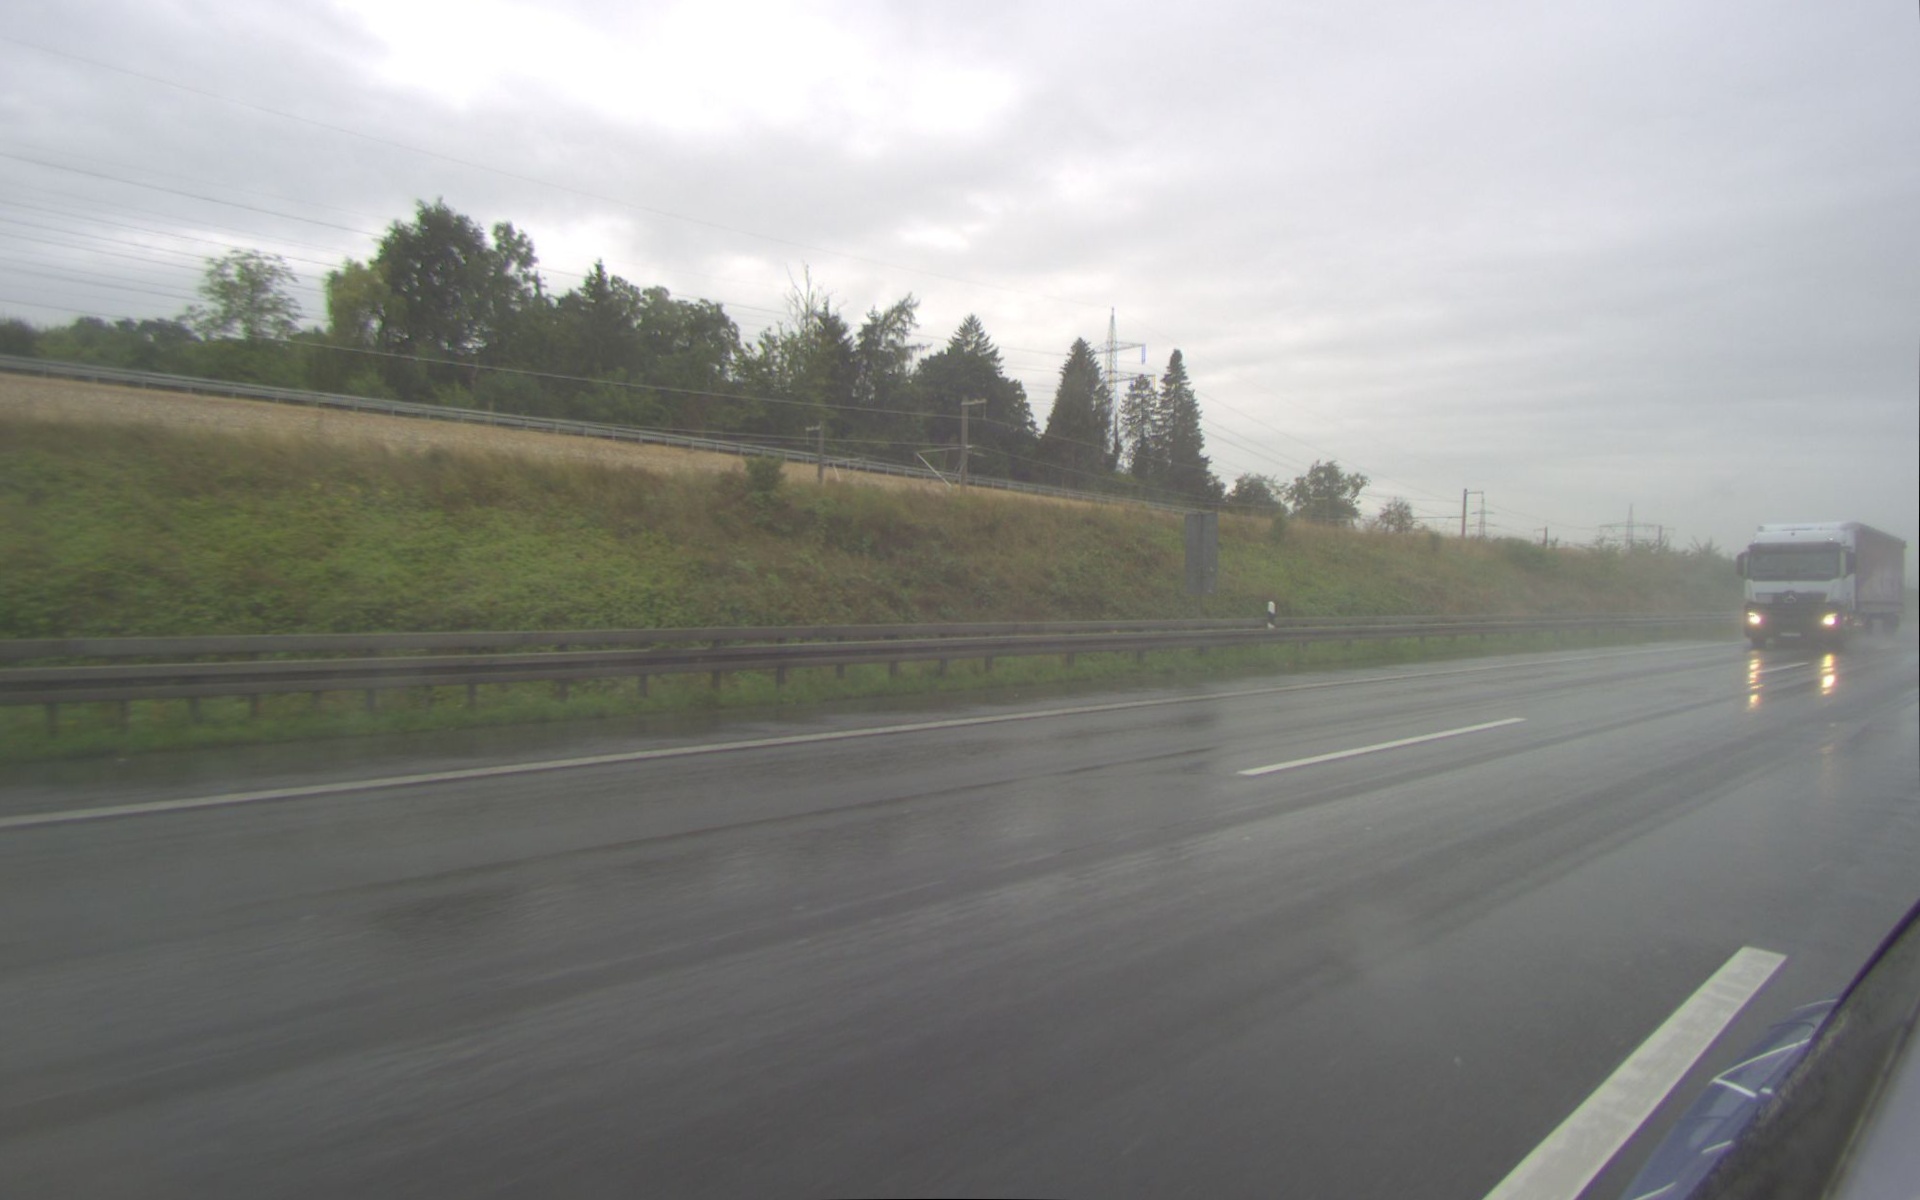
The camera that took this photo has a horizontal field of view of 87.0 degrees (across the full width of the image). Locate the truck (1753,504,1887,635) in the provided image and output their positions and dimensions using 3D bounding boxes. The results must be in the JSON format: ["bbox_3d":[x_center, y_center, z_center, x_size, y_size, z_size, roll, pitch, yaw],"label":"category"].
[{"bbox_3d":[28.353,-0.899,33.271,6.089,3.938,2.456,1,0,-41],"label":"truck"}]

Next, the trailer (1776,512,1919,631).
[{"bbox_3d":[34.541,-0.850,38.652,16.254,3.813,2.484,1,0,-41],"label":"trailer"}]
